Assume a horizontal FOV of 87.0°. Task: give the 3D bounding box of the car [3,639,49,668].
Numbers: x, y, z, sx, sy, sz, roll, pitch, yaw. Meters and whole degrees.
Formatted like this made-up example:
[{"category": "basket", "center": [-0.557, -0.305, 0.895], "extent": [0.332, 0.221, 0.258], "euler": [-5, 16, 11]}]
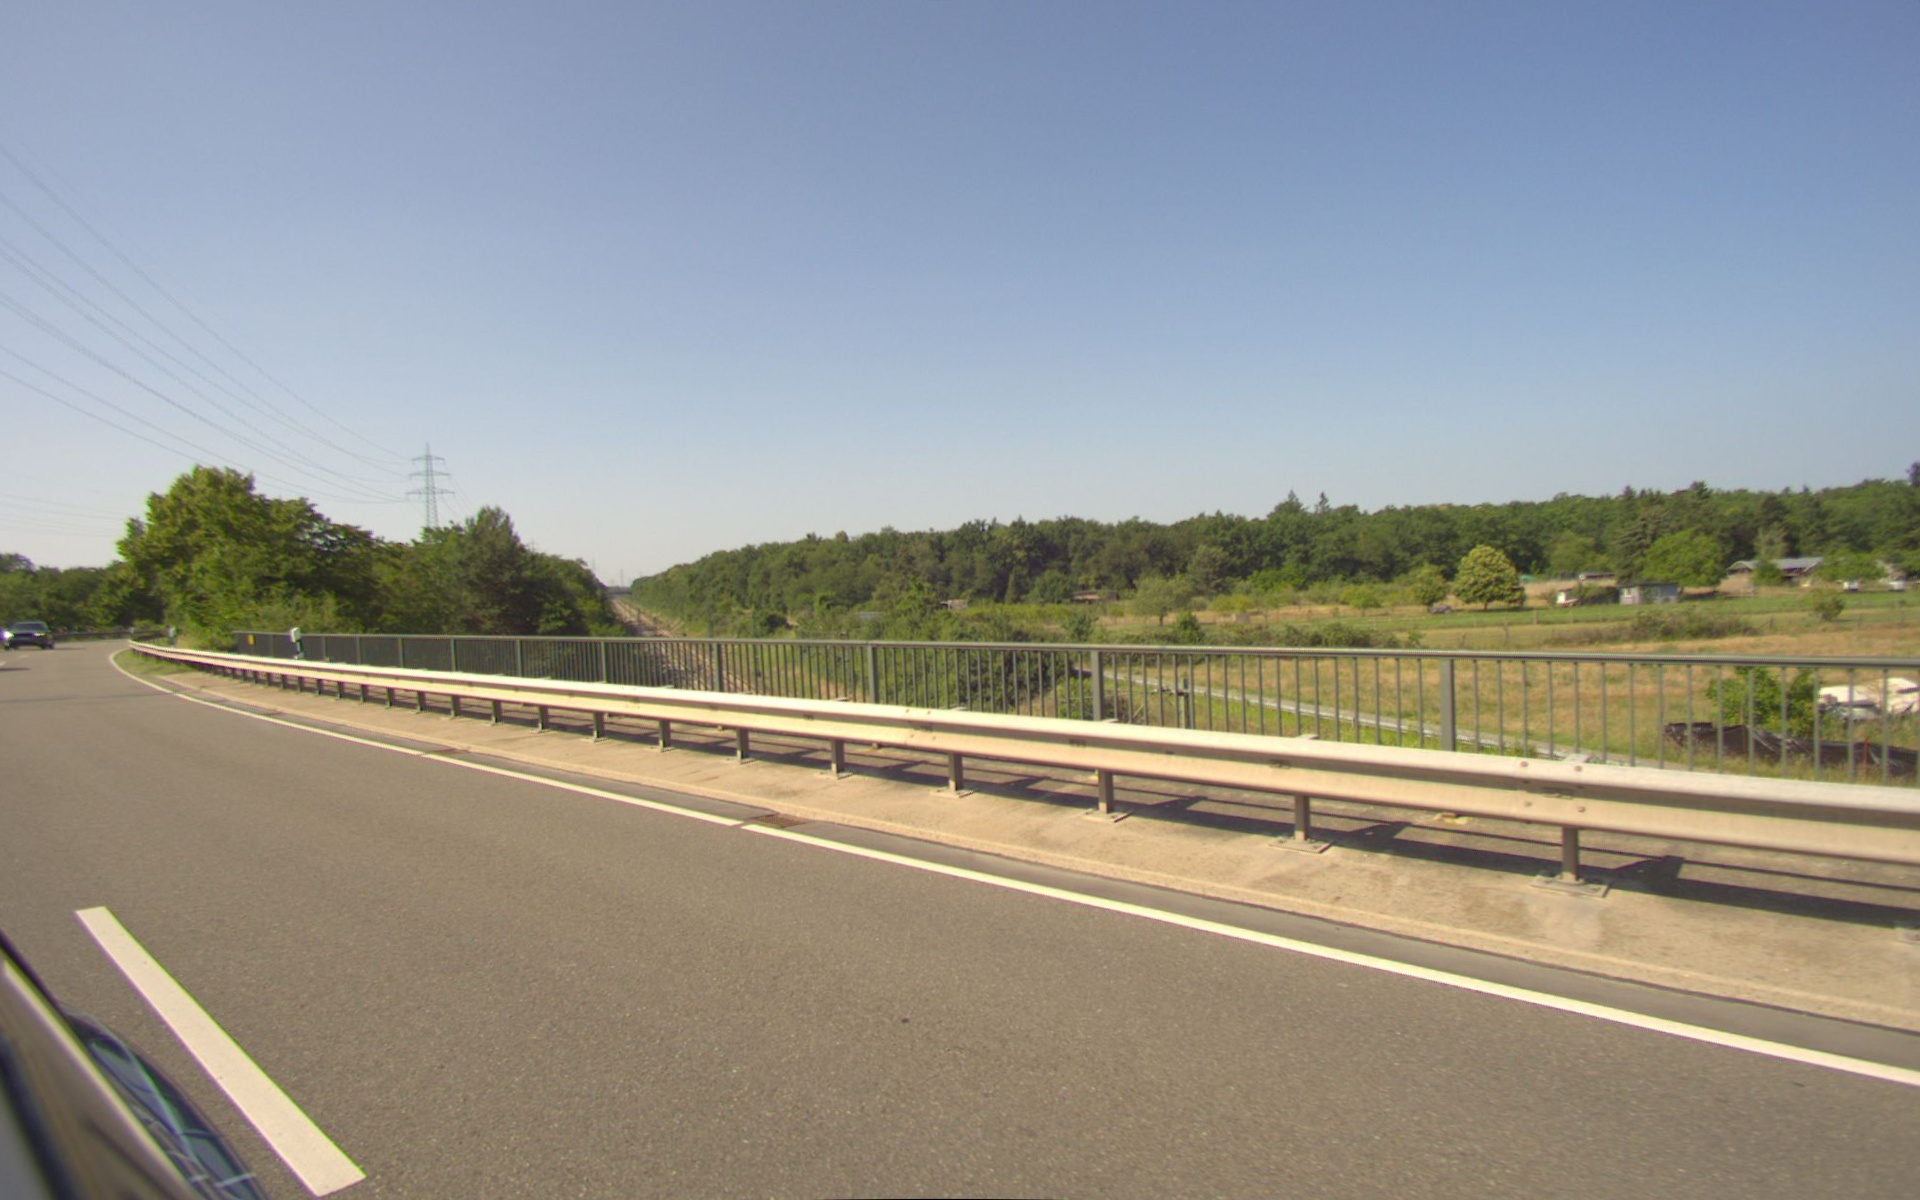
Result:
[{"category": "car", "center": [-55.490, 3.134, 60.193], "extent": [1.582, 1.506, 4.009], "euler": [-1, 0, -36]}]
